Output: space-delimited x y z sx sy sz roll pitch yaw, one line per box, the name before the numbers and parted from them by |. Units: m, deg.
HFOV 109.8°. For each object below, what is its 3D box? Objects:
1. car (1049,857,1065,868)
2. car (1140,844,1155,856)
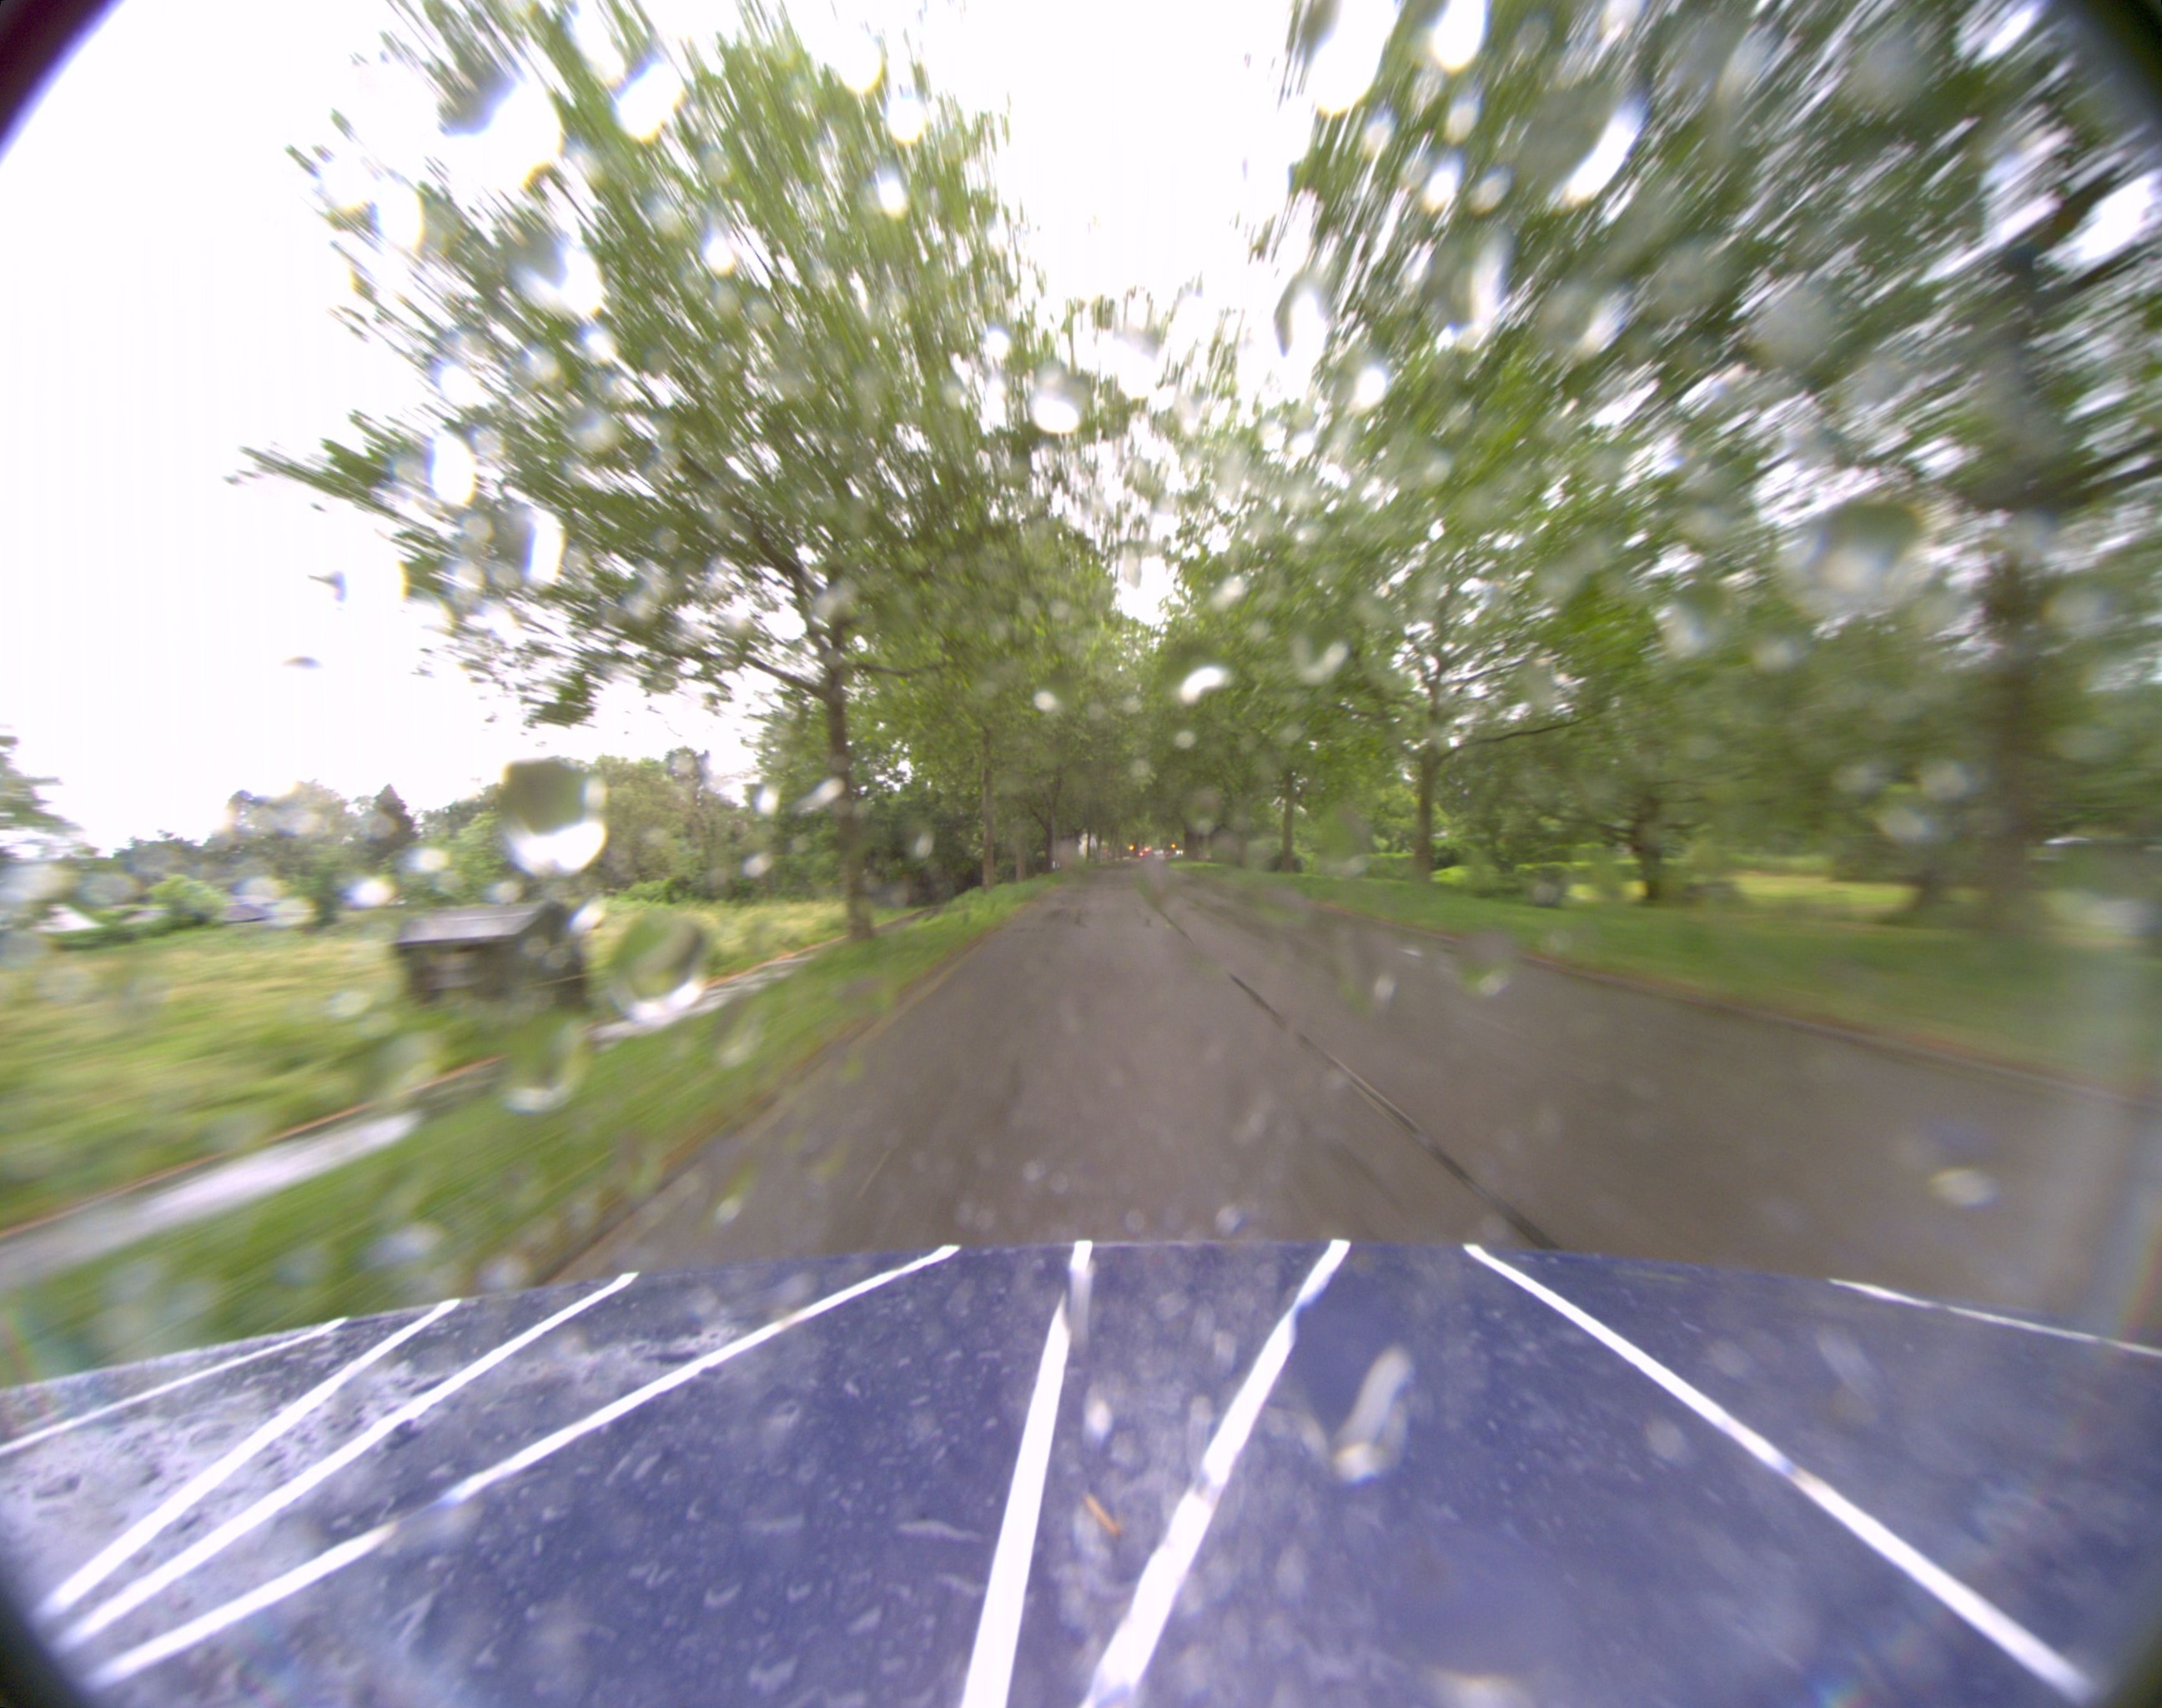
car | -3.376 1.177 108.092 1.800 1.317 4.000 -7 0 3
car | 9.592 -0.570 109.963 1.867 1.740 5.016 -1 0 2
